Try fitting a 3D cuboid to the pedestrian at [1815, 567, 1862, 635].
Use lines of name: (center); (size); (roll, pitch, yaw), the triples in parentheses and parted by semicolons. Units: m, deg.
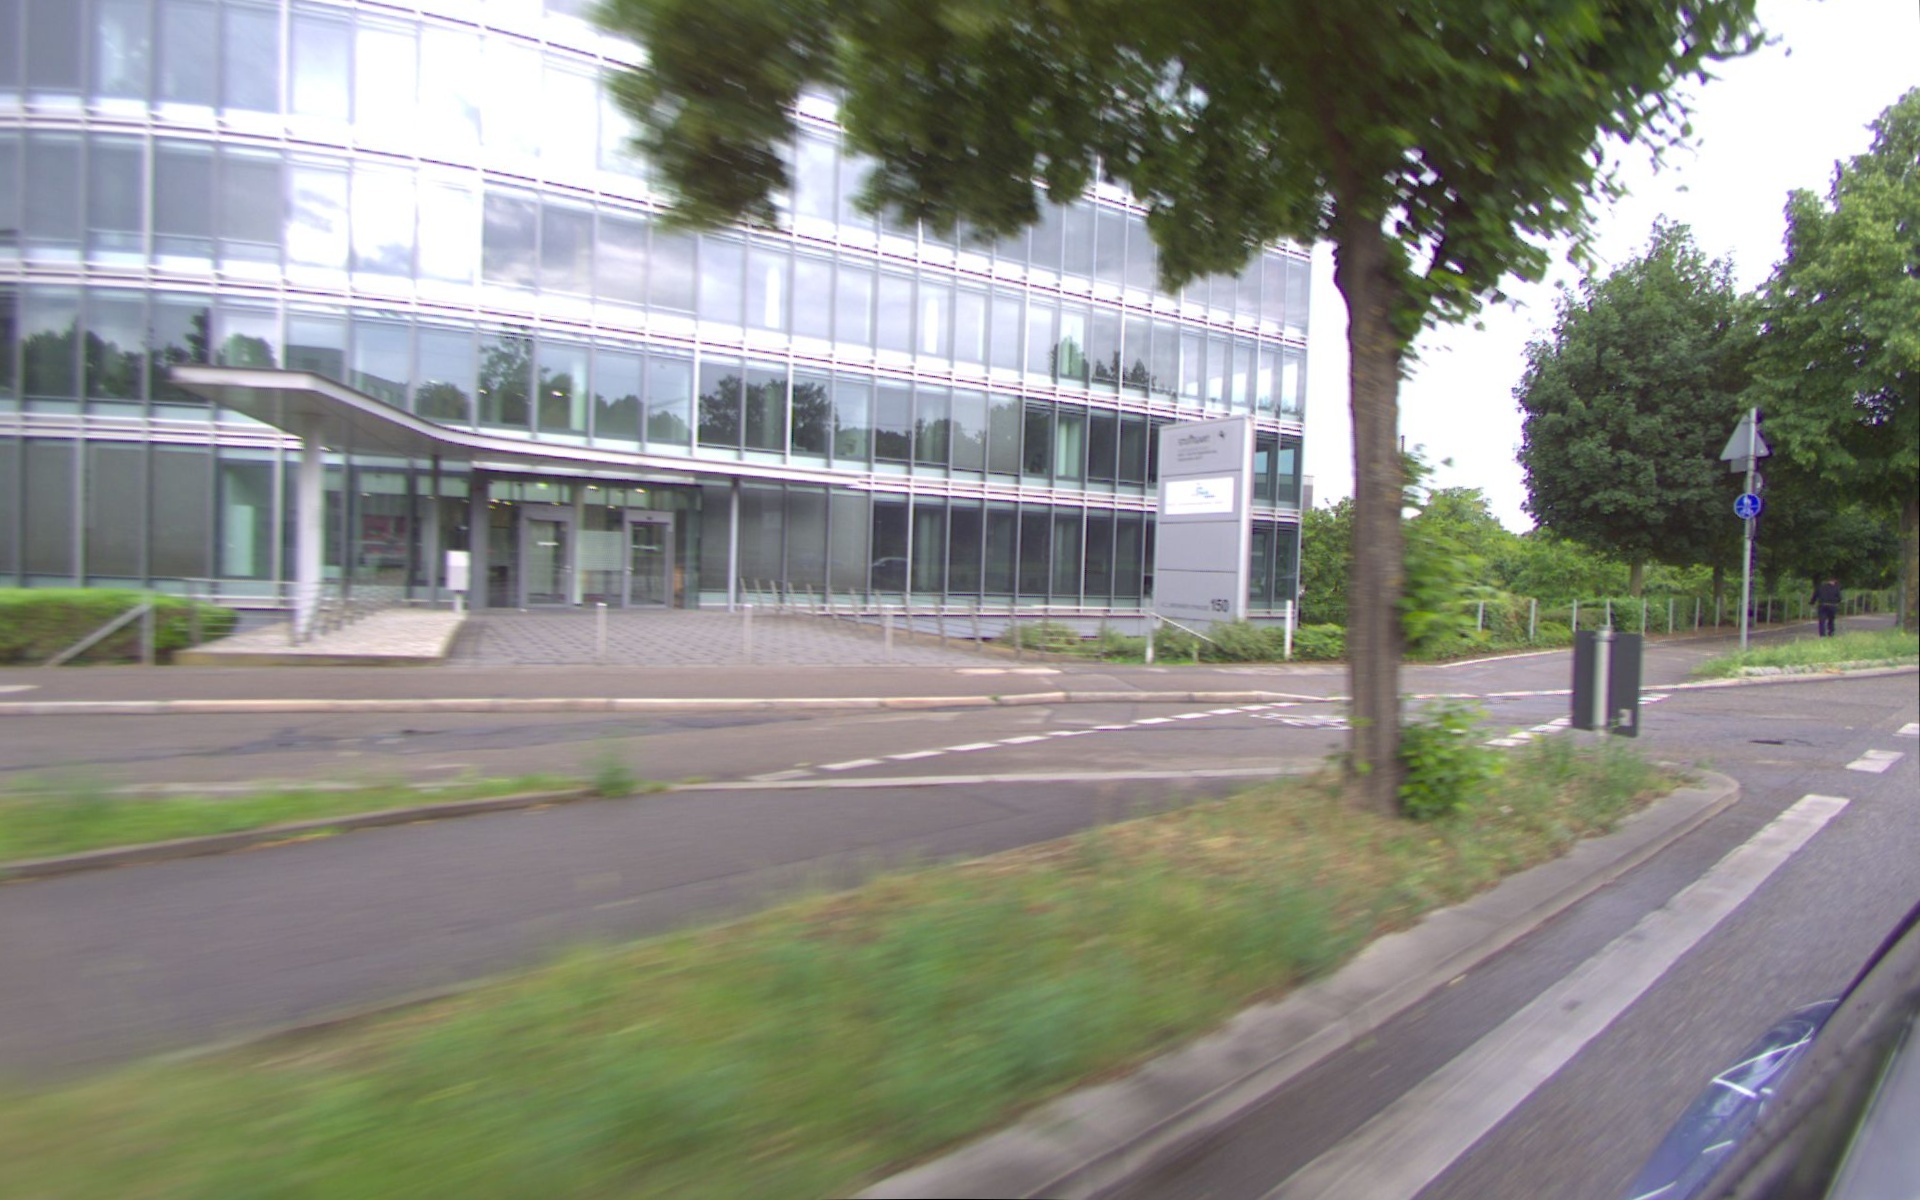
pedestrian: (23.992, 0.001, 27.642); (0.852, 1.819, 0.827); (-1, 1, -40)
